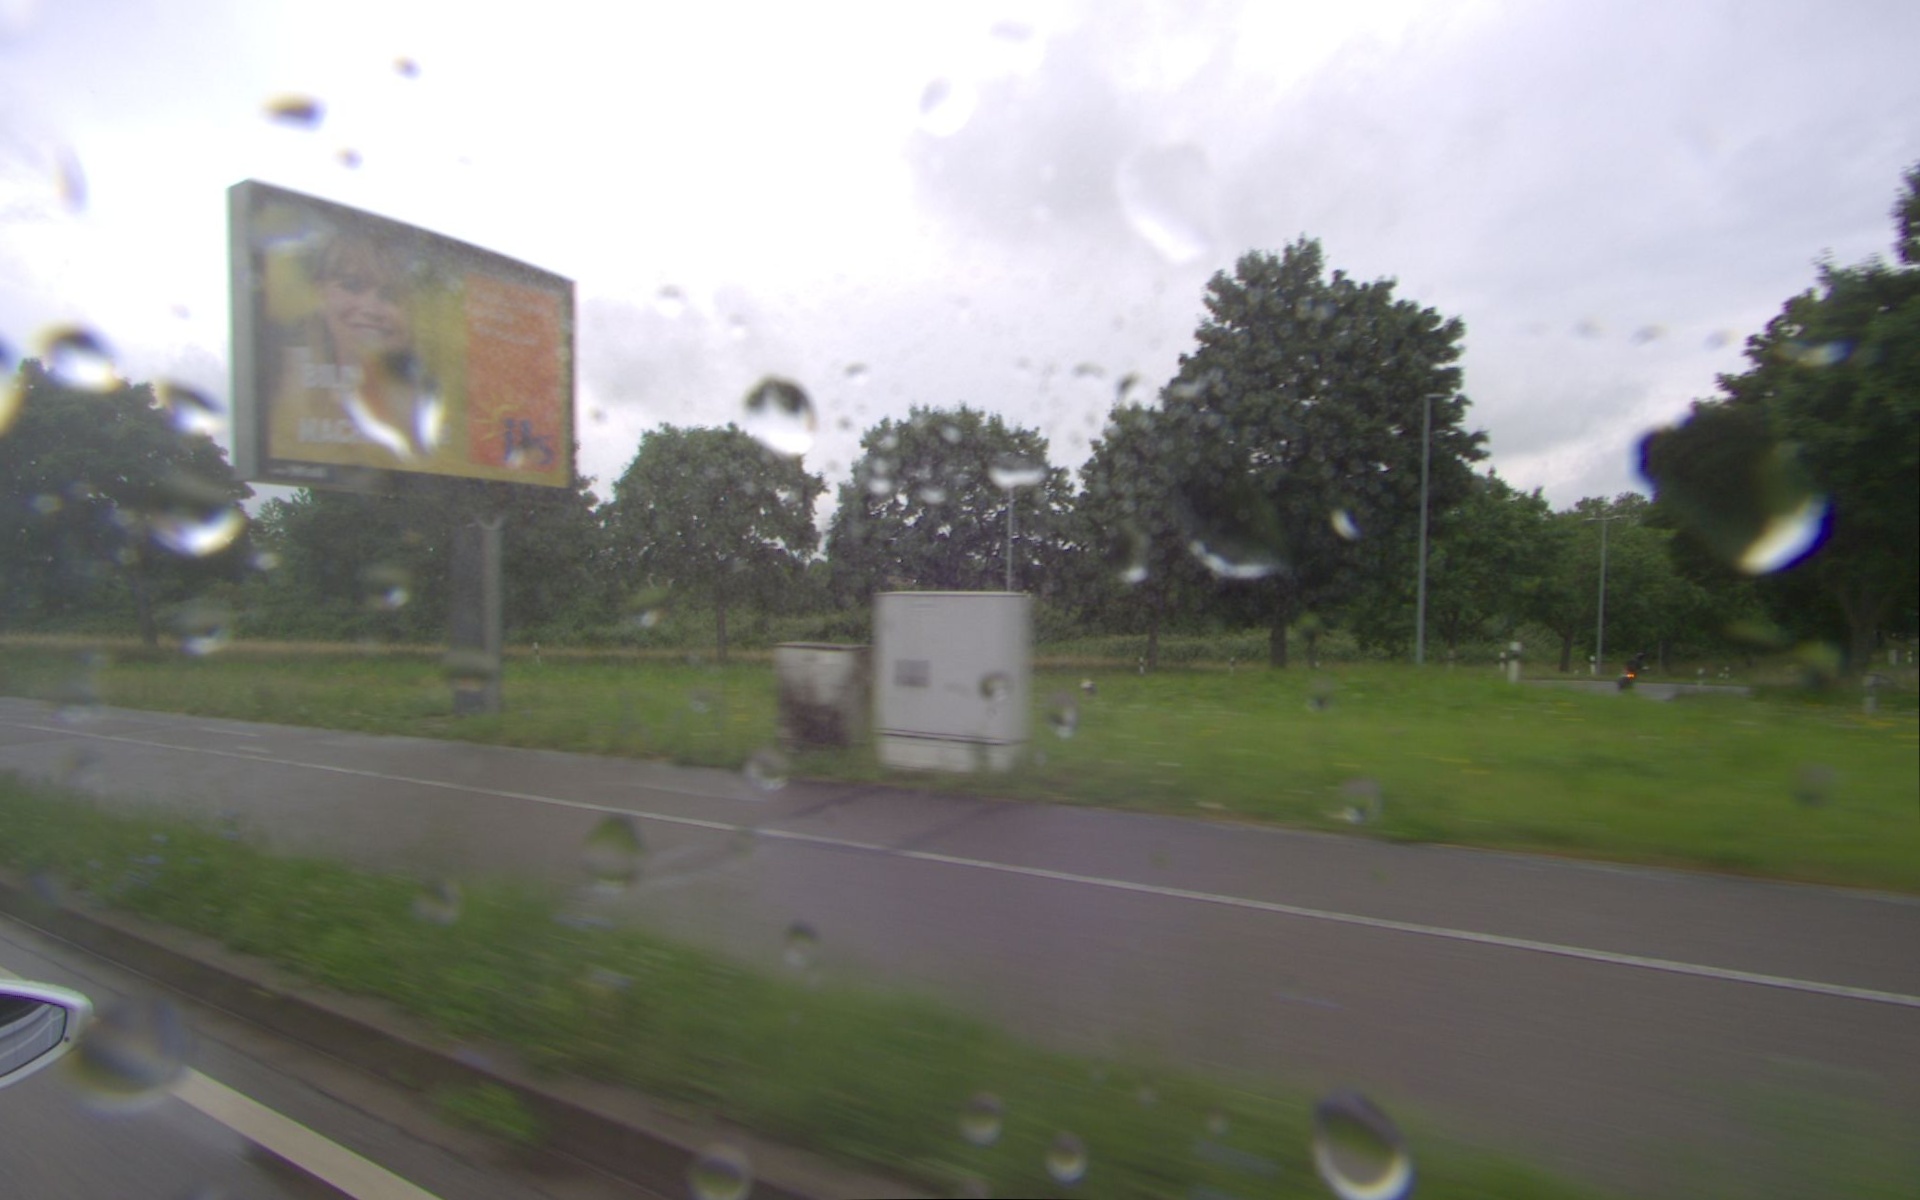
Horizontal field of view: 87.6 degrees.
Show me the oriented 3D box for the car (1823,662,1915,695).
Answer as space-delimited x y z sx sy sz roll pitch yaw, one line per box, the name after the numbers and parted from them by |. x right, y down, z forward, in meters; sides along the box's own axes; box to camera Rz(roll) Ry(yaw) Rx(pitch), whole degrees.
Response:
47.551 4.084 52.389 3.930 1.639 1.857 1 -1 -17 | car

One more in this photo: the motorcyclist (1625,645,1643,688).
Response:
27.859 2.730 41.382 0.594 1.712 0.855 0 1 33 | motorcyclist

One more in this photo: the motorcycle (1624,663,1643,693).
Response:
27.852 3.209 41.409 0.594 1.108 1.722 0 0 33 | motorcycle
